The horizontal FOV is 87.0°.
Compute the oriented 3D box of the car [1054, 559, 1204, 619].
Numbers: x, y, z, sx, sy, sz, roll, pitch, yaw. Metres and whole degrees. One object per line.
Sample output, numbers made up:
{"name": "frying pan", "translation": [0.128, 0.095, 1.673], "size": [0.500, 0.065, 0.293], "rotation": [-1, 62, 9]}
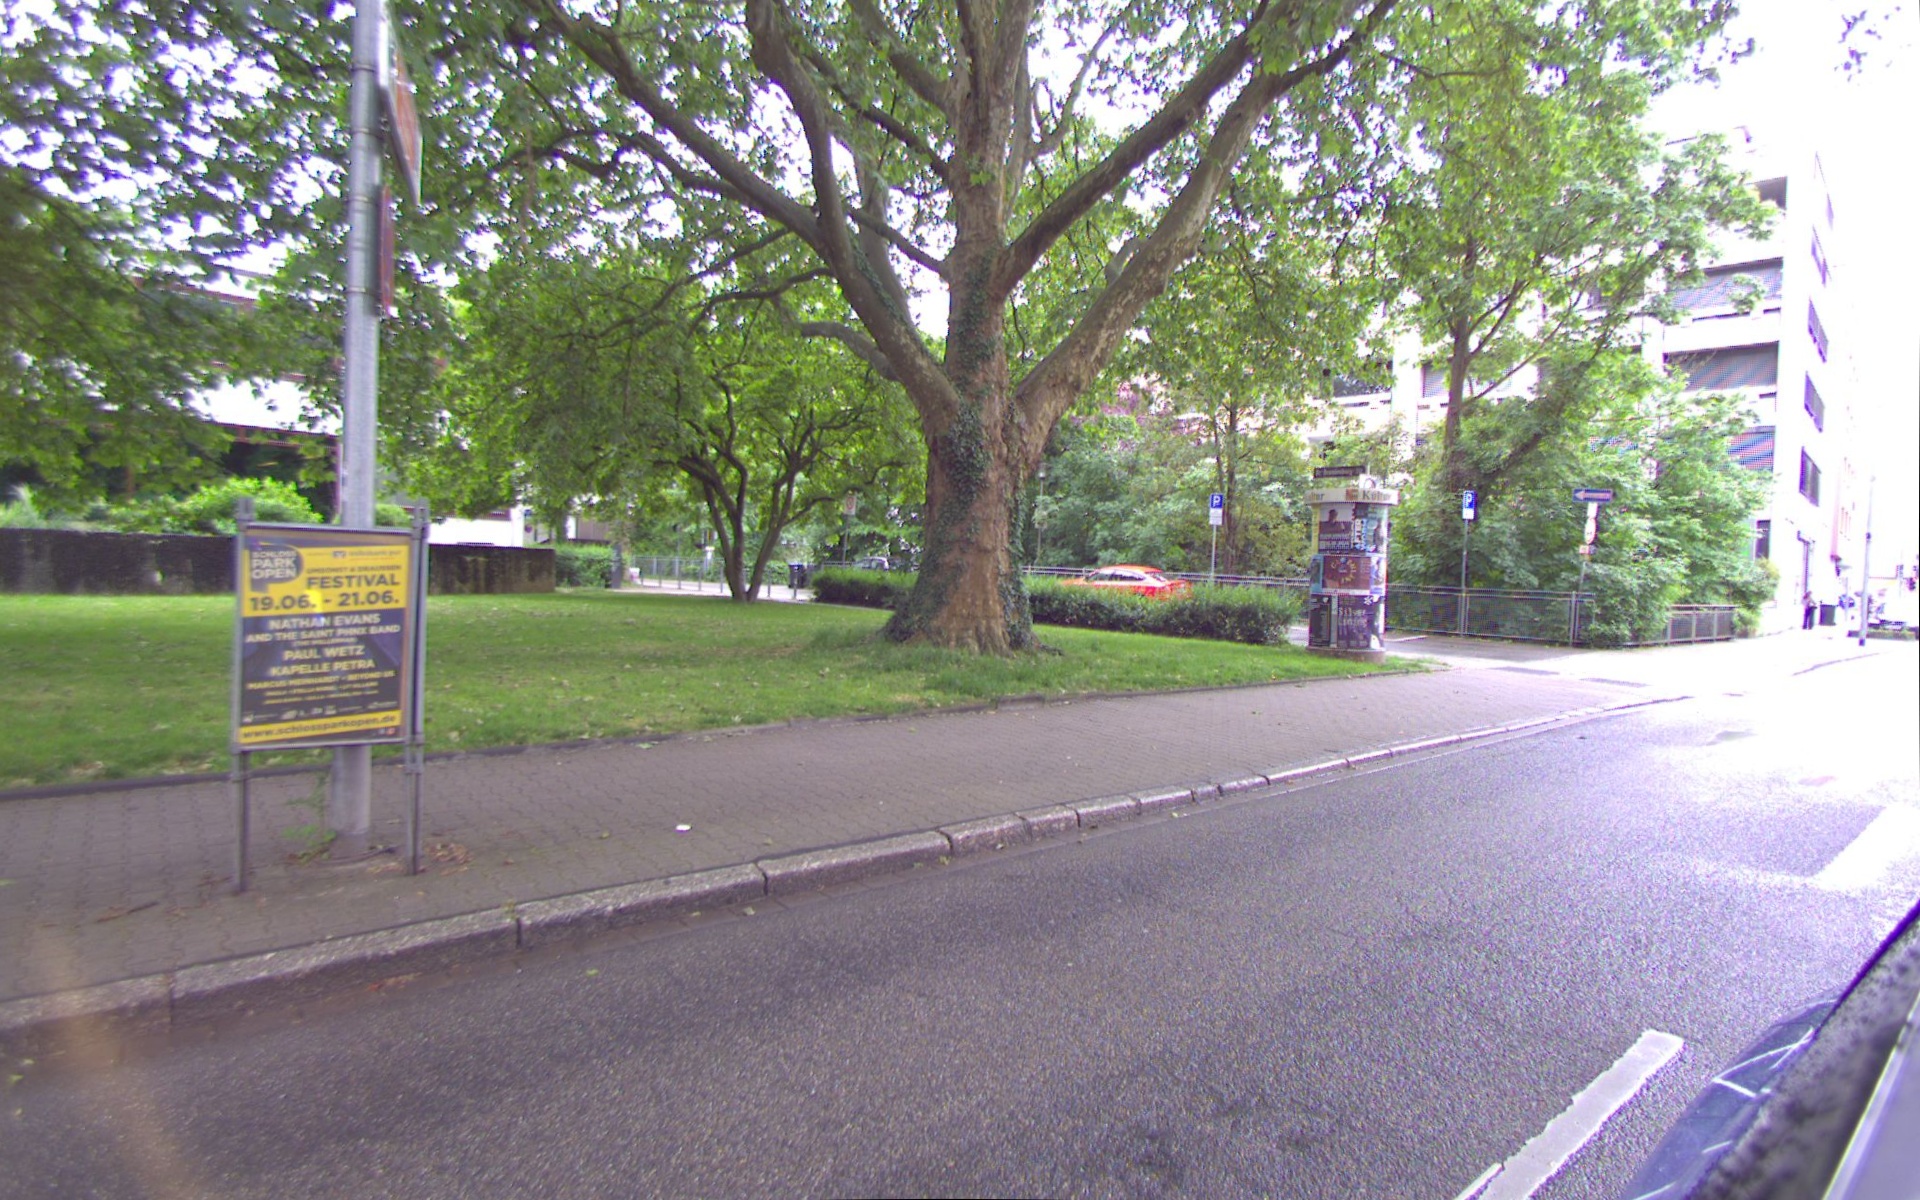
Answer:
{"name": "car", "translation": [4.908, -0.385, 29.743], "size": [3.989, 1.499, 1.847], "rotation": [5, 5, 44]}

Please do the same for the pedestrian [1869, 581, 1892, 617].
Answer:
{"name": "pedestrian", "translation": [56.567, -0.087, 62.176], "size": [0.797, 2.179, 0.732], "rotation": [2, 1, 26]}

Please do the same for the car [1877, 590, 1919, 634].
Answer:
{"name": "car", "translation": [37.515, 0.463, 39.846], "size": [3.741, 1.577, 1.705], "rotation": [0, 4, -43]}

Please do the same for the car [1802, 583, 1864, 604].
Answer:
{"name": "car", "translation": [79.752, -0.604, 92.497], "size": [1.801, 1.732, 3.801], "rotation": [1, 2, -21]}

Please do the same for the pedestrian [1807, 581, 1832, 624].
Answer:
{"name": "pedestrian", "translation": [35.024, 0.109, 41.232], "size": [0.598, 1.679, 0.681], "rotation": [7, 4, 42]}

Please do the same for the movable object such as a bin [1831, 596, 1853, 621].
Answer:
{"name": "movable object such as a bin", "translation": [42.110, 0.402, 48.312], "size": [0.505, 1.117, 0.680], "rotation": [0, 2, -42]}

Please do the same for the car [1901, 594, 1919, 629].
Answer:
{"name": "car", "translation": [42.591, 0.538, 44.203], "size": [4.493, 1.437, 1.834], "rotation": [0, 3, -43]}

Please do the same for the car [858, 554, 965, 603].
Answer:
{"name": "car", "translation": [-1.821, -0.819, 37.090], "size": [1.707, 1.590, 3.925], "rotation": [0, 3, -45]}

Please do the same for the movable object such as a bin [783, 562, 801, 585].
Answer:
{"name": "movable object such as a bin", "translation": [-7.181, -1.125, 43.160], "size": [0.573, 0.986, 0.512], "rotation": [0, 0, -41]}
